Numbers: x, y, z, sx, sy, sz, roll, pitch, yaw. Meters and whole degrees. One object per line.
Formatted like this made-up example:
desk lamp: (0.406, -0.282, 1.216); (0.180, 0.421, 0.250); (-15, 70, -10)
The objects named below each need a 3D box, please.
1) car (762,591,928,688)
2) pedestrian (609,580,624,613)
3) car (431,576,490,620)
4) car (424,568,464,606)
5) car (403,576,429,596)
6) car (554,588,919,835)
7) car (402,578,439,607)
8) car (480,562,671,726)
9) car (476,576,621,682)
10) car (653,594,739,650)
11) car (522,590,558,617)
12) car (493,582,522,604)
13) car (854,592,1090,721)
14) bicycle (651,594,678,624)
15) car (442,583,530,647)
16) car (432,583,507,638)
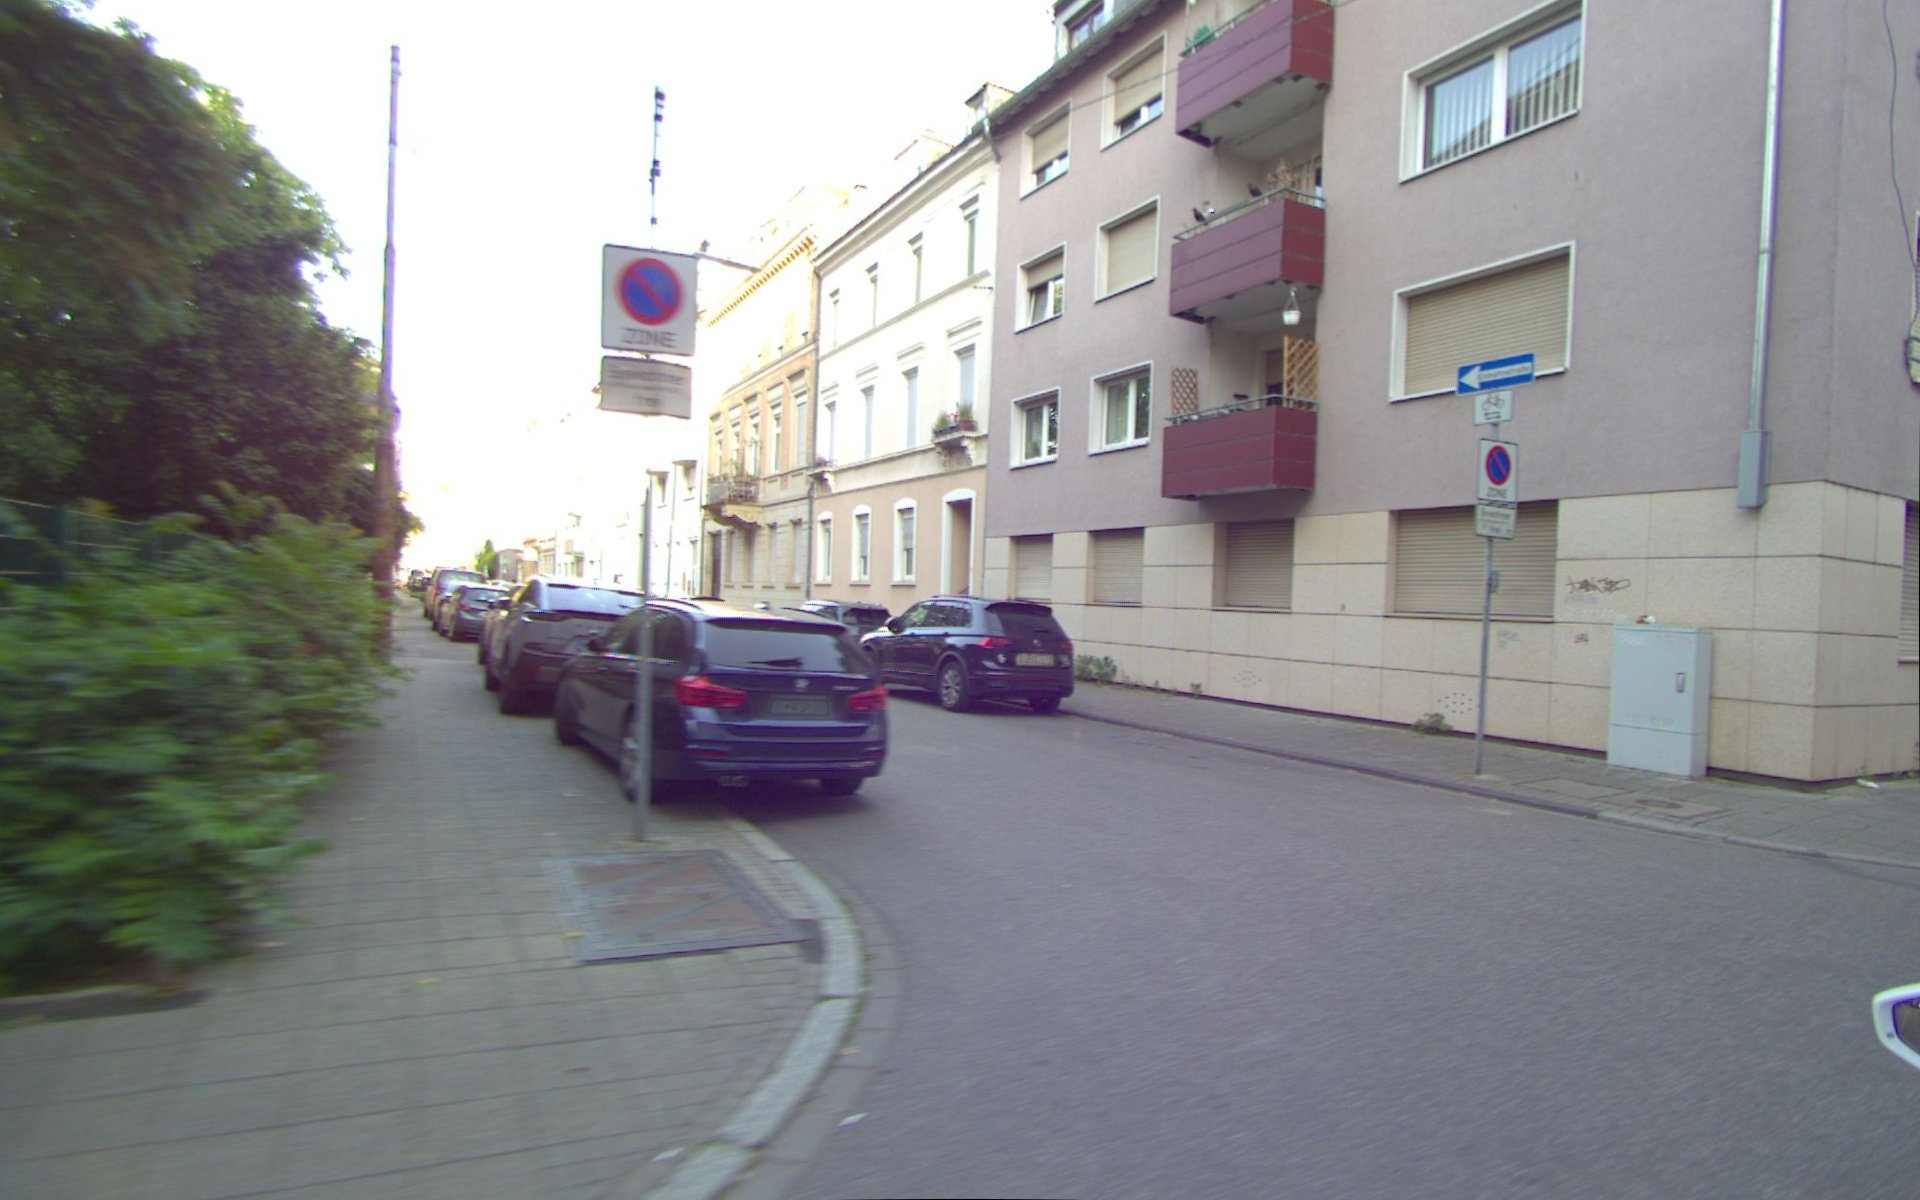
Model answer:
car: (-2.411, 0.726, 20.151); (1.800, 1.656, 3.942); (5, -2, -30)
pedestrian: (-18.538, -0.199, 54.214); (0.602, 1.728, 0.565); (2, 1, -33)
car: (-18.775, -0.086, 37.684); (1.693, 1.476, 3.942); (5, -2, -30)
car: (-26.522, -0.662, 51.701); (1.745, 1.793, 3.564); (2, 0, -27)
car: (-53.467, -1.344, 98.657); (1.978, 1.837, 3.966); (2, -1, -31)
car: (-2.152, 0.707, 8.515); (1.708, 1.501, 4.348); (3, -1, -31)
car: (-31.684, -0.444, 59.079); (1.745, 1.595, 3.564); (2, 0, -27)
car: (-5.037, 0.471, 12.824); (1.706, 1.727, 4.095); (3, 0, -28)
car: (-7.186, 0.444, 17.311); (1.808, 1.597, 3.969); (2, 0, -29)
car: (-7.804, 0.618, 29.558); (1.543, 1.459, 3.346); (5, -2, -30)
car: (-25.409, 0.193, 60.732); (1.543, 1.459, 3.346); (5, -2, -30)
car: (-34.388, -0.536, 76.311); (1.543, 1.459, 3.346); (5, -2, -30)
car: (0.038, 0.782, 15.408); (1.800, 1.656, 3.942); (5, -2, -30)
bicycle: (-13.709, 0.405, 46.560); (0.653, 1.304, 2.413); (2, 0, -29)
car: (-12.478, 0.355, 26.342); (1.693, 1.476, 3.942); (5, -2, -30)
car: (-14.974, 0.281, 30.576); (1.693, 1.476, 3.942); (5, -2, -30)
